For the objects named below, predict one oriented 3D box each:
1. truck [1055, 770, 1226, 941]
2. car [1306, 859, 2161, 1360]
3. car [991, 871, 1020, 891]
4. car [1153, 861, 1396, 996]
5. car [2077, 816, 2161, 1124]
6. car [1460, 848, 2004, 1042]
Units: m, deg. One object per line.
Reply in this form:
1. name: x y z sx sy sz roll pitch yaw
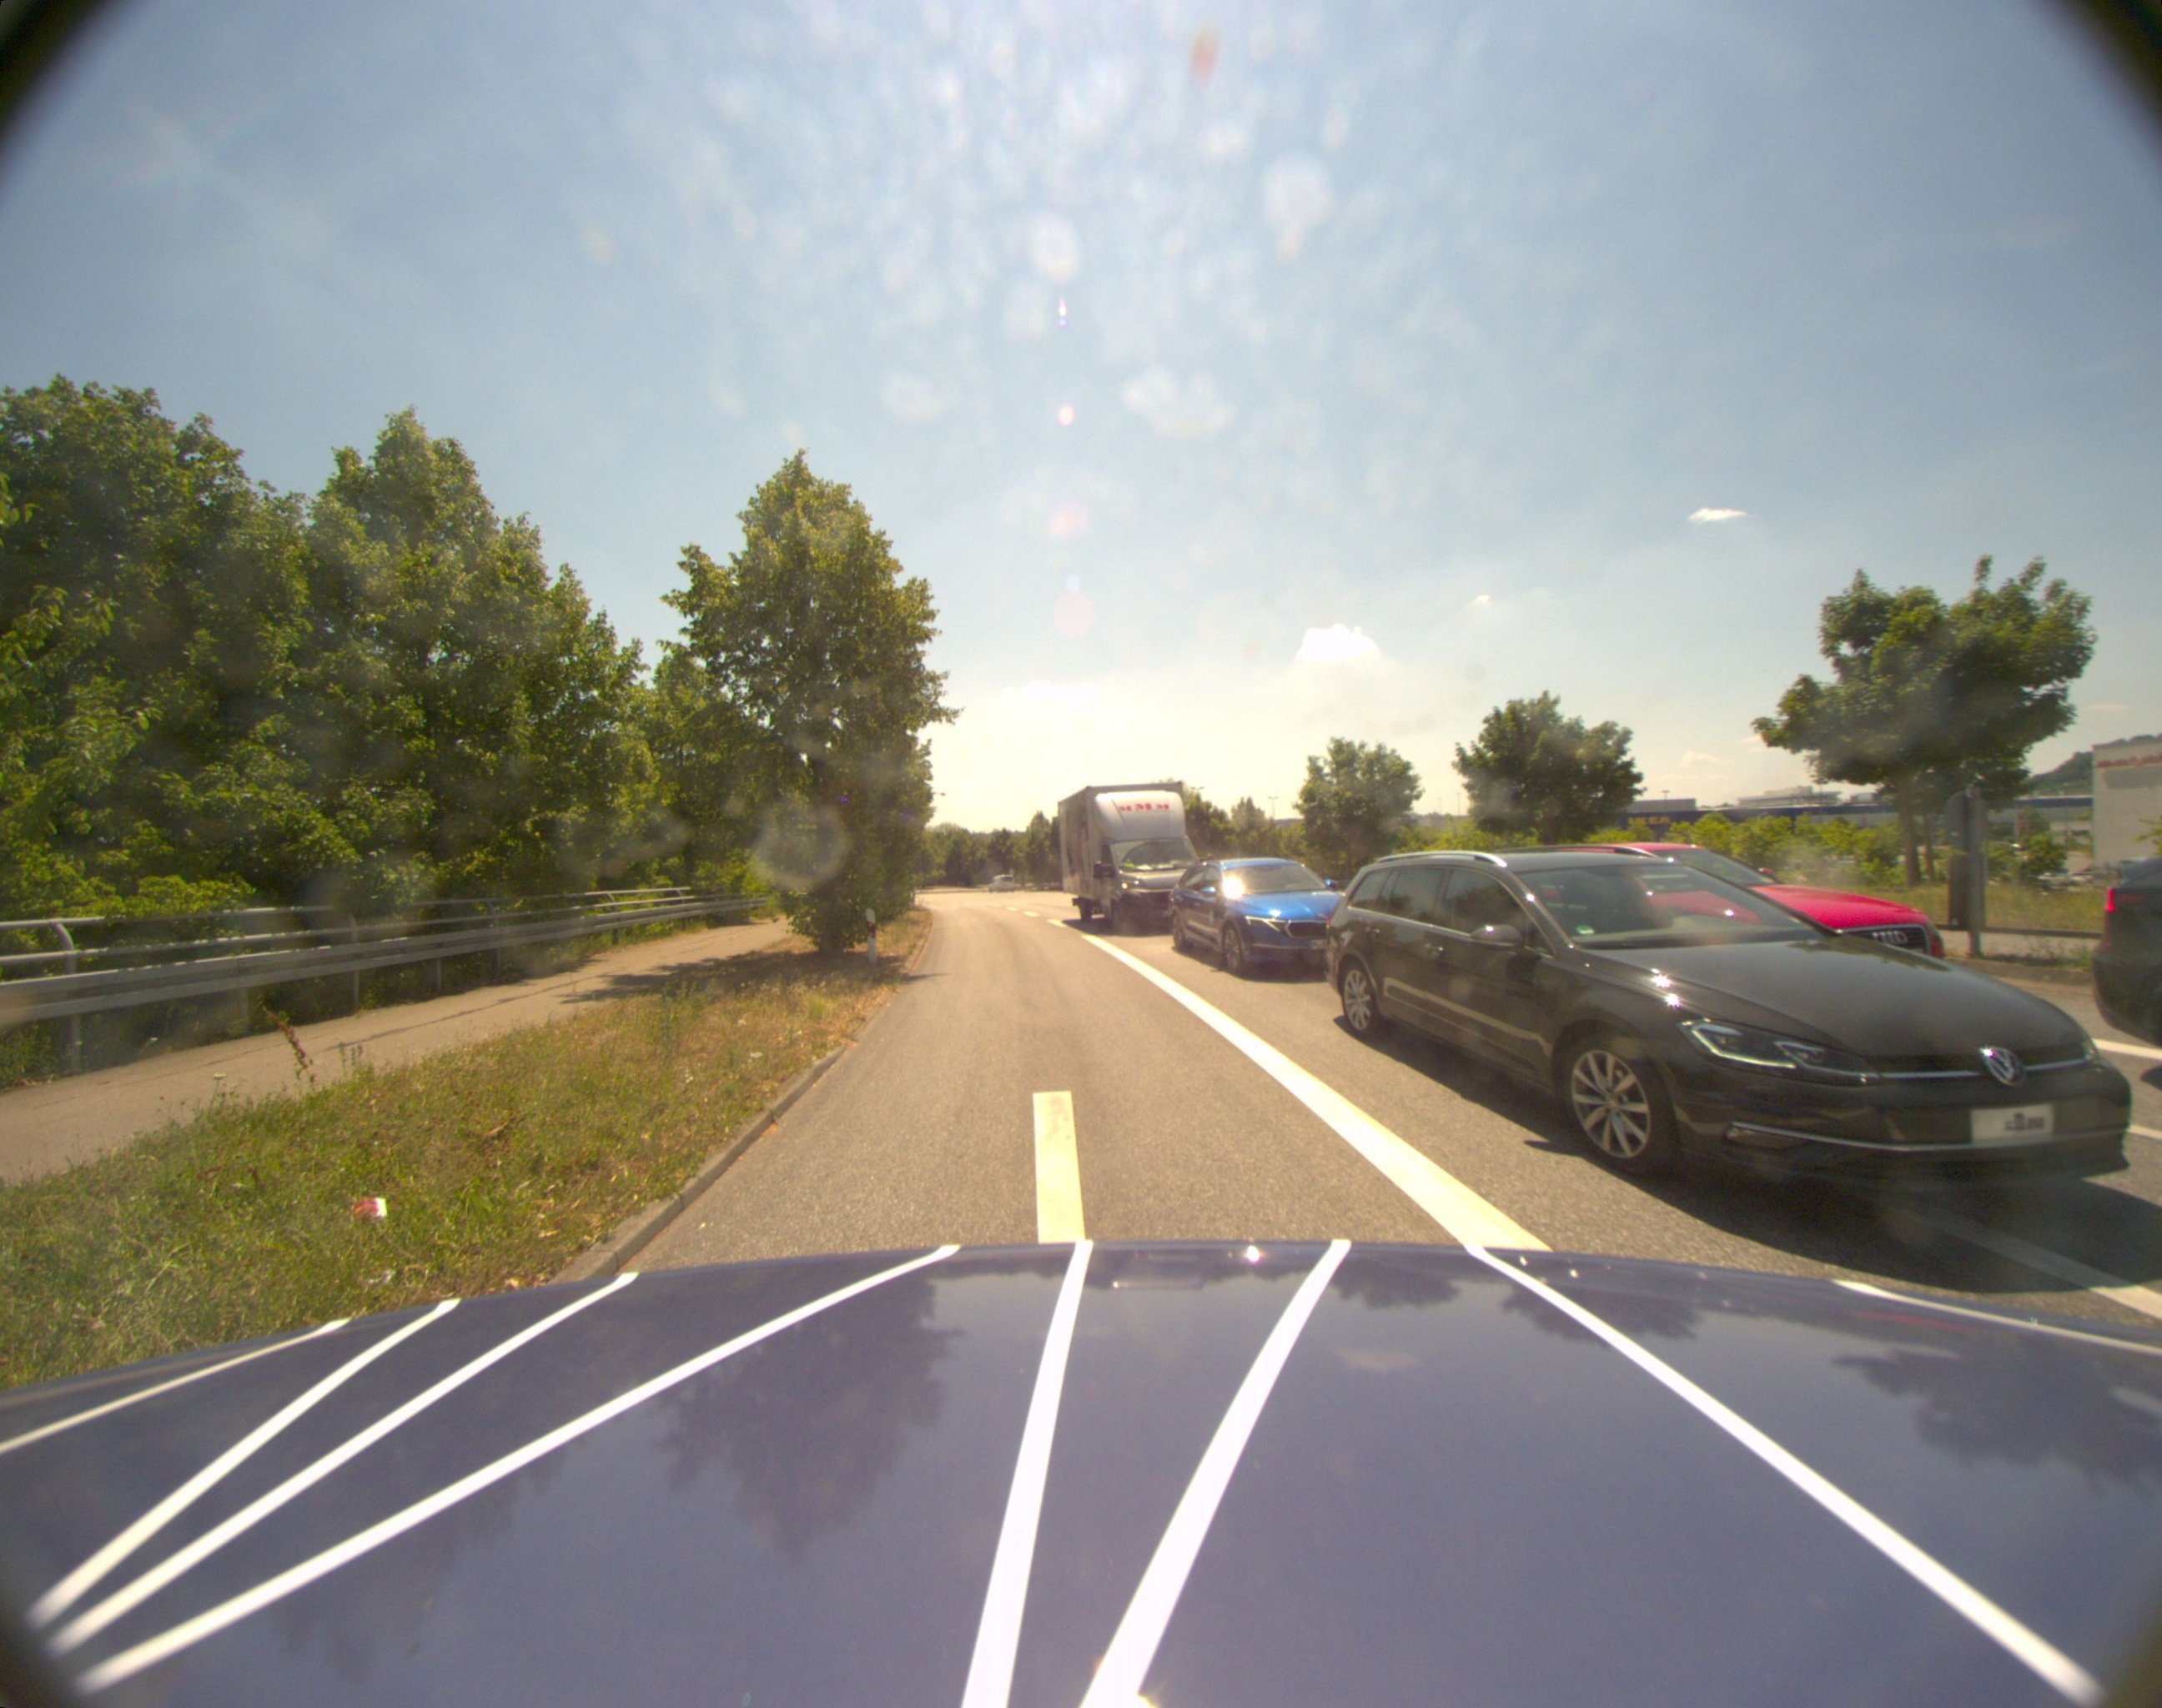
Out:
1. truck: 1.103 0.106 18.785 2.416 3.327 7.198 -2 -1 -9
2. car: 3.084 0.817 4.653 1.783 1.474 4.427 -2 0 -4
3. car: -8.192 2.901 81.936 2.002 1.949 3.992 -2 1 -23
4. car: 2.469 0.884 10.983 1.713 1.454 4.486 -3 -1 -9
5. car: 6.680 0.582 2.072 1.880 1.591 4.503 -2 1 -5
6. car: 6.113 0.673 8.027 1.665 1.380 4.447 -3 1 -5
